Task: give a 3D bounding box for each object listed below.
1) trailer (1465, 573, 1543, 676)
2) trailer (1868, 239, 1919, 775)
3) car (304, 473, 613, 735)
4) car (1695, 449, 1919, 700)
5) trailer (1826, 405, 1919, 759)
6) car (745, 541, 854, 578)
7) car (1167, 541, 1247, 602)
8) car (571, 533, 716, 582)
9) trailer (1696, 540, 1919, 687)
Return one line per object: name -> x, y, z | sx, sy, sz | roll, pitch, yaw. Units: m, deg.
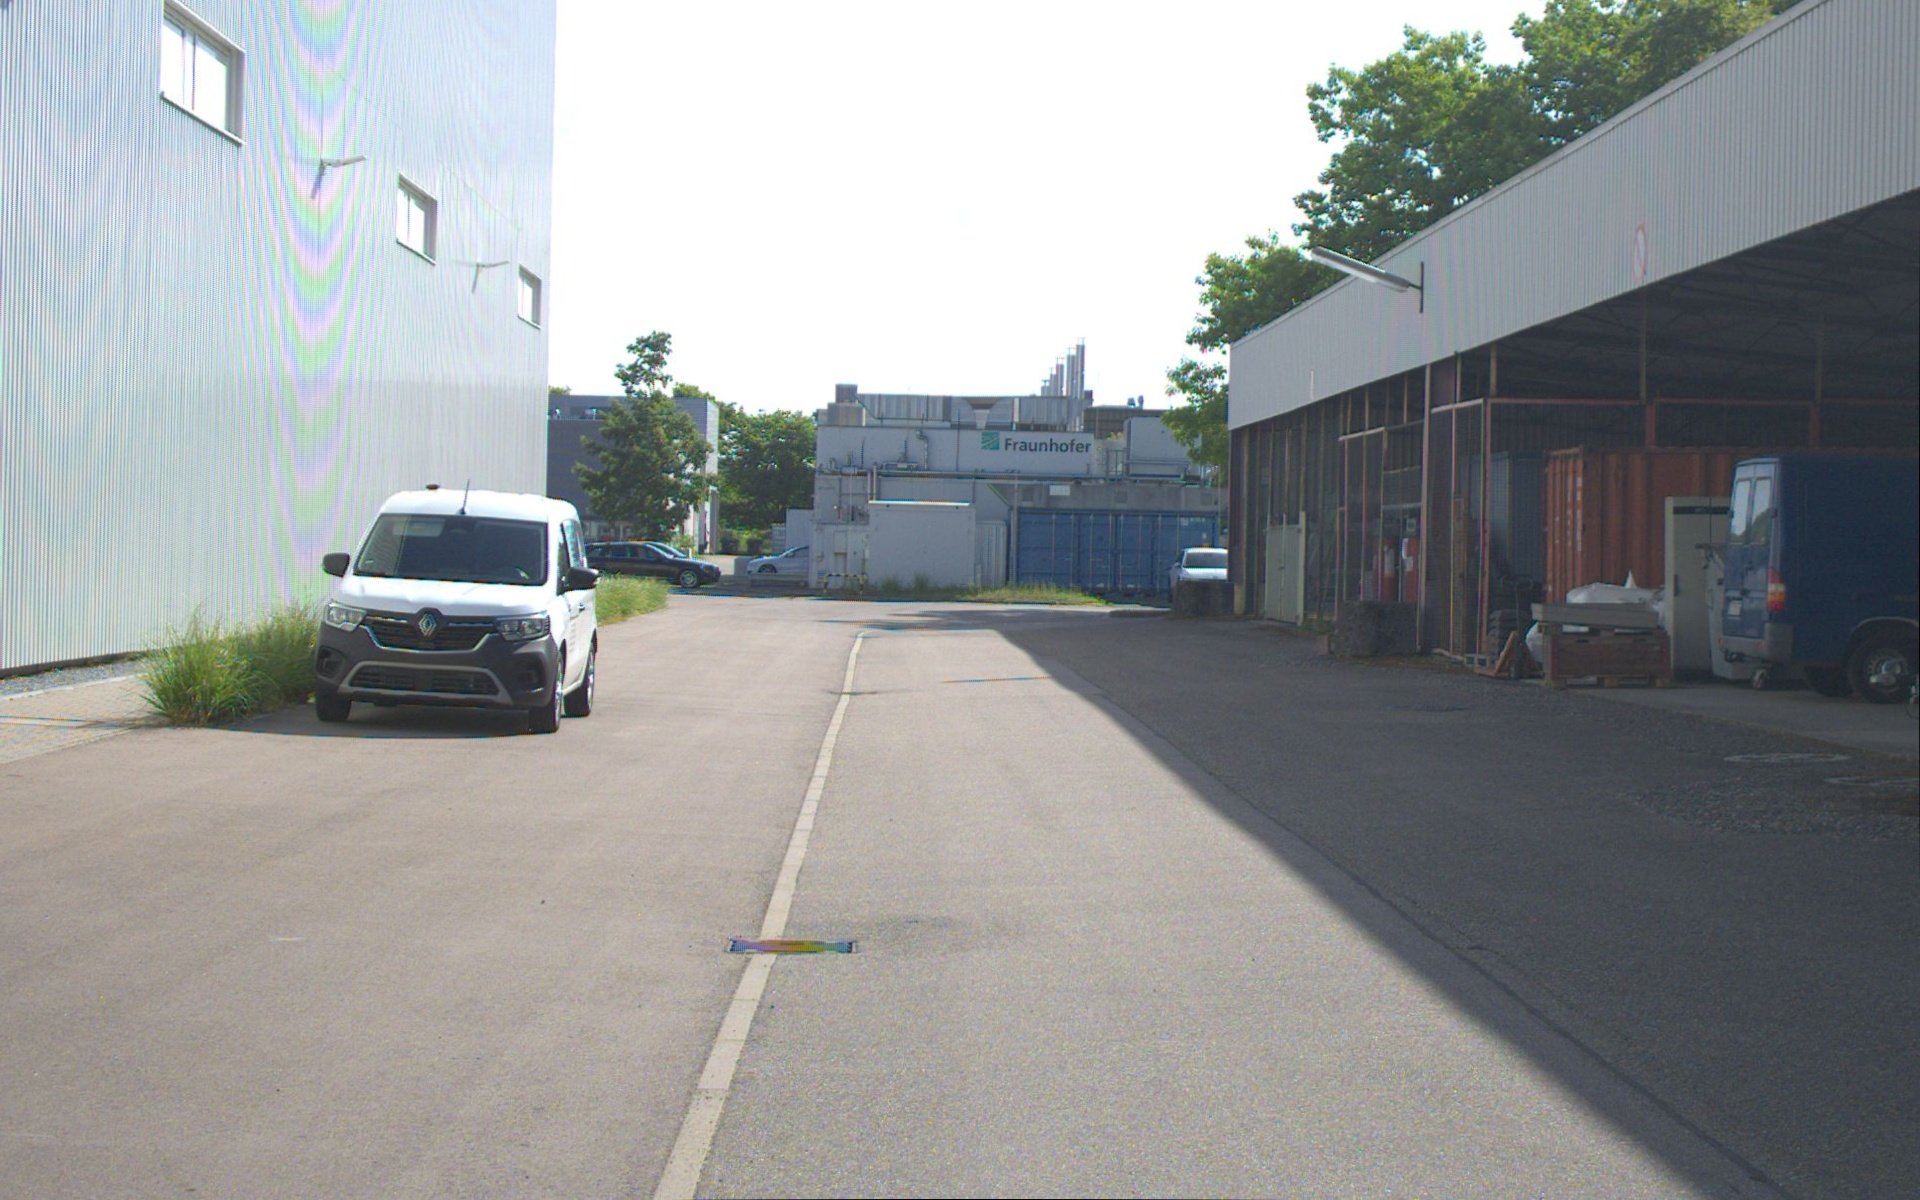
trailer -> 6.033, 0.260, 38.171 | 0.551, 1.114, 1.547 | 0, 0, -3
trailer -> 11.108, -0.591, 21.204 | 10.267, 3.331, 2.801 | 0, 1, 0
car -> -3.852, 0.010, 27.113 | 1.783, 1.809, 4.602 | 3, 0, -1
car -> 9.868, -0.217, 32.489 | 5.332, 2.273, 2.153 | 1, 0, -2
trailer -> 8.482, -0.134, 23.675 | 4.516, 2.334, 2.047 | 0, 0, 0
car -> -6.371, -1.607, 136.936 | 4.302, 1.452, 1.824 | 0, 0, -1
car -> 6.921, -0.817, 96.753 | 1.979, 1.597, 4.377 | 0, 2, 0
car -> -10.013, -1.349, 108.991 | 4.447, 1.526, 1.824 | 0, 0, -1
trailer -> 8.688, 0.124, 35.093 | 2.038, 1.461, 1.738 | 0, 1, 3
